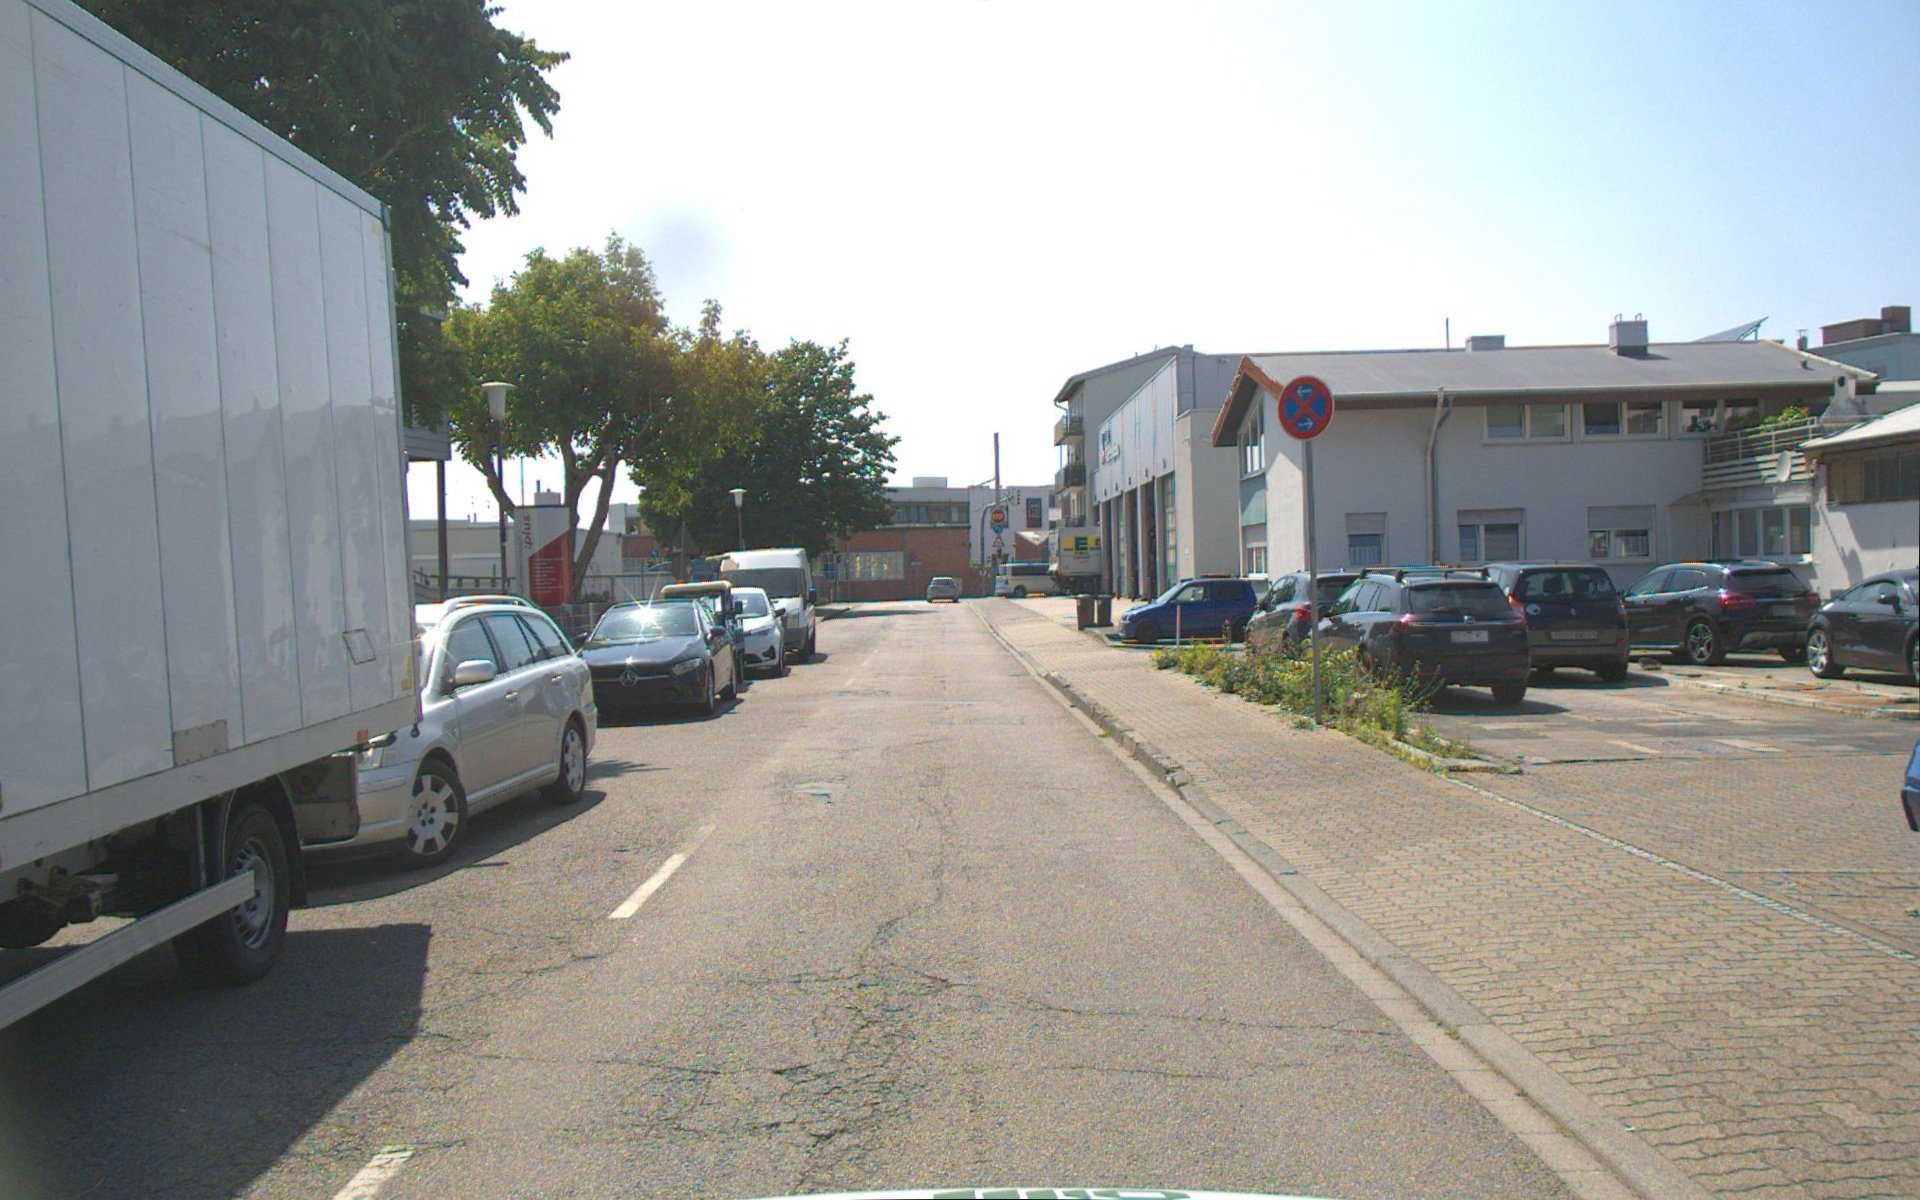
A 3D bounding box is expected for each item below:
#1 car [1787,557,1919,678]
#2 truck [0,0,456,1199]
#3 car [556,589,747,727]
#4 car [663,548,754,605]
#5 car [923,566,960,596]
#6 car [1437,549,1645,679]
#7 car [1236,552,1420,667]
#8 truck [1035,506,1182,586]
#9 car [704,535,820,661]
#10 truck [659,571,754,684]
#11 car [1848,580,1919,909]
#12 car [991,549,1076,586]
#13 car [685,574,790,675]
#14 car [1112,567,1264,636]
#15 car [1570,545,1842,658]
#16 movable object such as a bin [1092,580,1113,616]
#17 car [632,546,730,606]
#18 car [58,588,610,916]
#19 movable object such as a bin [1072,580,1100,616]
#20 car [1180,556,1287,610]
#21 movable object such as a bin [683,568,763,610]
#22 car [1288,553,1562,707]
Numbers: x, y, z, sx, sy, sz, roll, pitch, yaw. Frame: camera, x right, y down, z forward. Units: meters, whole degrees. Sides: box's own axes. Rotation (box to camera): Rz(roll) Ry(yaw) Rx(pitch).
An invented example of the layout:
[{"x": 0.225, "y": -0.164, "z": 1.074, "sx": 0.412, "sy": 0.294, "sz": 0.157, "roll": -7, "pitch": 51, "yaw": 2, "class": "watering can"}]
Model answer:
[{"x": 11.737, "y": 0.171, "z": 19.906, "sx": 1.608, "sy": 1.347, "sz": 4.102, "roll": -2, "pitch": 1, "yaw": 2, "class": "car"}, {"x": -3.800, "y": -0.136, "z": 4.667, "sx": 2.631, "sy": 3.425, "sz": 7.127, "roll": -2, "pitch": 0, "yaw": -2, "class": "truck"}, {"x": -3.880, "y": 0.667, "z": 21.459, "sx": 1.670, "sy": 1.488, "sz": 4.114, "roll": -3, "pitch": 1, "yaw": 0, "class": "car"}, {"x": -11.858, "y": -1.112, "z": 78.236, "sx": 4.004, "sy": 2.556, "sz": 1.776, "roll": -2, "pitch": 1, "yaw": -3, "class": "car"}, {"x": -1.149, "y": -1.155, "z": 99.330, "sx": 1.854, "sy": 1.714, "sz": 3.953, "roll": 2, "pitch": 1, "yaw": -6, "class": "car"}, {"x": 8.019, "y": 0.134, "z": 23.143, "sx": 1.723, "sy": 1.622, "sz": 3.620, "roll": 2, "pitch": 1, "yaw": 2, "class": "car"}, {"x": 5.595, "y": 0.090, "z": 25.703, "sx": 1.775, "sy": 1.585, "sz": 4.292, "roll": -2, "pitch": 1, "yaw": -1, "class": "car"}, {"x": 7.926, "y": -2.898, "z": 88.801, "sx": 7.221, "sy": 3.708, "sz": 2.764, "roll": -5, "pitch": 2, "yaw": -7, "class": "truck"}, {"x": -4.175, "y": -0.087, "z": 35.671, "sx": 1.965, "sy": 2.407, "sz": 5.227, "roll": -3, "pitch": 1, "yaw": -3, "class": "car"}, {"x": -4.072, "y": 0.396, "z": 26.890, "sx": 1.116, "sy": 1.650, "sz": 3.139, "roll": -4, "pitch": 1, "yaw": -3, "class": "truck"}, {"x": 6.421, "y": 0.589, "z": 7.043, "sx": 4.265, "sy": 1.466, "sz": 1.892, "roll": -2, "pitch": 1, "yaw": -2, "class": "car"}, {"x": 4.297, "y": -1.903, "z": 97.157, "sx": 4.585, "sy": 1.991, "sz": 1.905, "roll": -2, "pitch": 1, "yaw": -20, "class": "car"}, {"x": -4.041, "y": 0.399, "z": 30.501, "sx": 1.672, "sy": 1.652, "sz": 3.969, "roll": -3, "pitch": 1, "yaw": -5, "class": "car"}, {"x": 5.135, "y": 0.009, "z": 37.518, "sx": 3.187, "sy": 1.423, "sz": 1.673, "roll": -2, "pitch": 1, "yaw": -1, "class": "car"}, {"x": 11.420, "y": -0.001, "z": 25.655, "sx": 1.729, "sy": 1.522, "sz": 4.138, "roll": -3, "pitch": 1, "yaw": -12, "class": "car"}, {"x": 3.919, "y": -0.051, "z": 45.567, "sx": 0.502, "sy": 0.962, "sz": 0.488, "roll": -2, "pitch": 1, "yaw": 10, "class": "movable object such as a bin"}, {"x": -12.357, "y": -1.073, "z": 73.402, "sx": 4.004, "sy": 2.556, "sz": 1.776, "roll": -2, "pitch": 1, "yaw": -3, "class": "car"}, {"x": -3.643, "y": 0.761, "z": 10.567, "sx": 1.705, "sy": 1.547, "sz": 4.311, "roll": -2, "pitch": 1, "yaw": 2, "class": "car"}, {"x": 3.441, "y": -0.056, "z": 45.147, "sx": 0.557, "sy": 0.962, "sz": 0.556, "roll": -2, "pitch": 1, "yaw": 33, "class": "movable object such as a bin"}, {"x": 8.849, "y": -0.561, "z": 53.385, "sx": 1.746, "sy": 1.566, "sz": 3.683, "roll": -1, "pitch": 2, "yaw": 40, "class": "car"}, {"x": -9.461, "y": -0.451, "z": 66.315, "sx": 2.571, "sy": 1.536, "sz": 2.730, "roll": -2, "pitch": 1, "yaw": 5, "class": "movable object such as a bin"}, {"x": 5.484, "y": 0.270, "z": 20.237, "sx": 1.821, "sy": 1.595, "sz": 4.950, "roll": -2, "pitch": 1, "yaw": -1, "class": "car"}]
